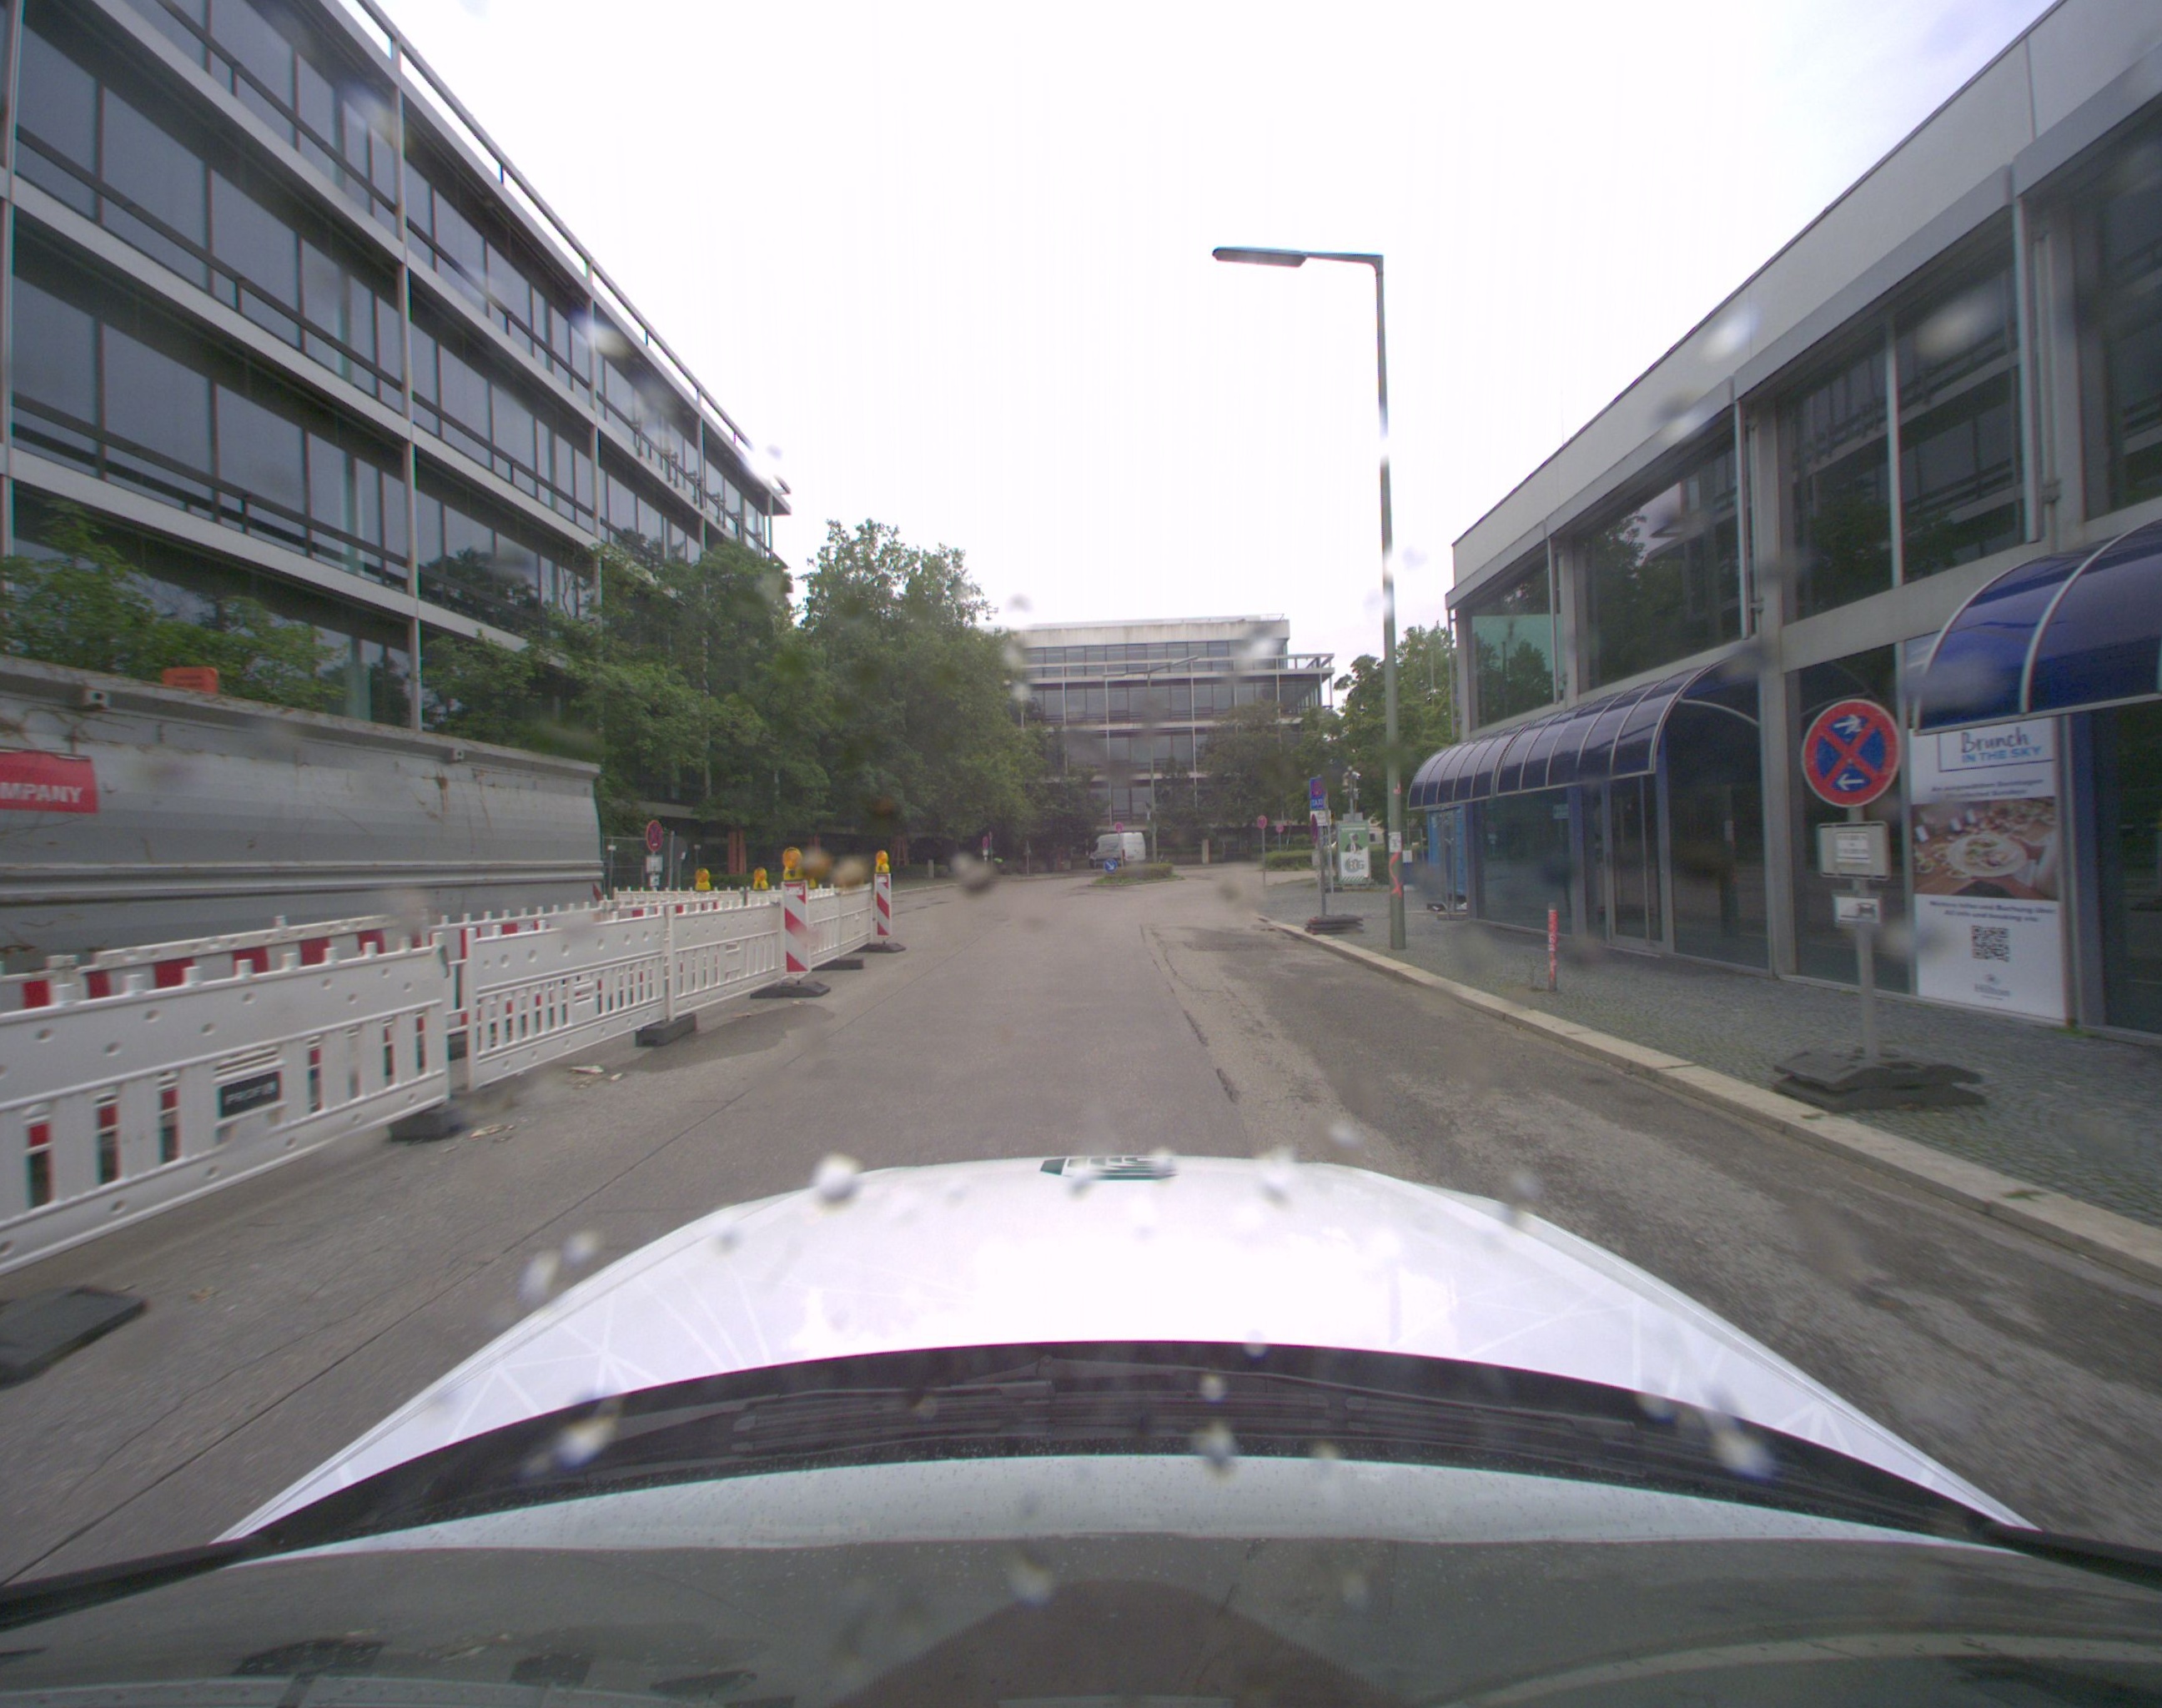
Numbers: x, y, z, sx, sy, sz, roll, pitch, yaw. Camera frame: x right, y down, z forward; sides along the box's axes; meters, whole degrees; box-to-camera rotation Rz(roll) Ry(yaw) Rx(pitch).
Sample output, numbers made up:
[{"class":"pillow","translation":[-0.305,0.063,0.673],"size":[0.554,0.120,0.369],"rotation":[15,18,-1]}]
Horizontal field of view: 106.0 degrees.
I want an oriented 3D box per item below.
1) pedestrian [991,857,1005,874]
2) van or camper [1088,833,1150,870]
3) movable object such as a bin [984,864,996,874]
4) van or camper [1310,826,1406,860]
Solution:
[{"class":"pedestrian","translation":[-6.258,0.870,61.163],"size":[0.922,1.278,0.542],"rotation":[-1,0,3]},{"class":"van or camper","translation":[2.854,-0.104,63.109],"size":[2.165,2.581,6.486],"rotation":[-1,-2,-24]},{"class":"movable object such as a bin","translation":[-6.819,1.131,61.138],"size":[0.830,0.753,0.573],"rotation":[-1,0,4]},{"class":"van or camper","translation":[20.311,-0.803,59.733],"size":[6.403,2.281,2.245],"rotation":[-2,0,-12]}]
